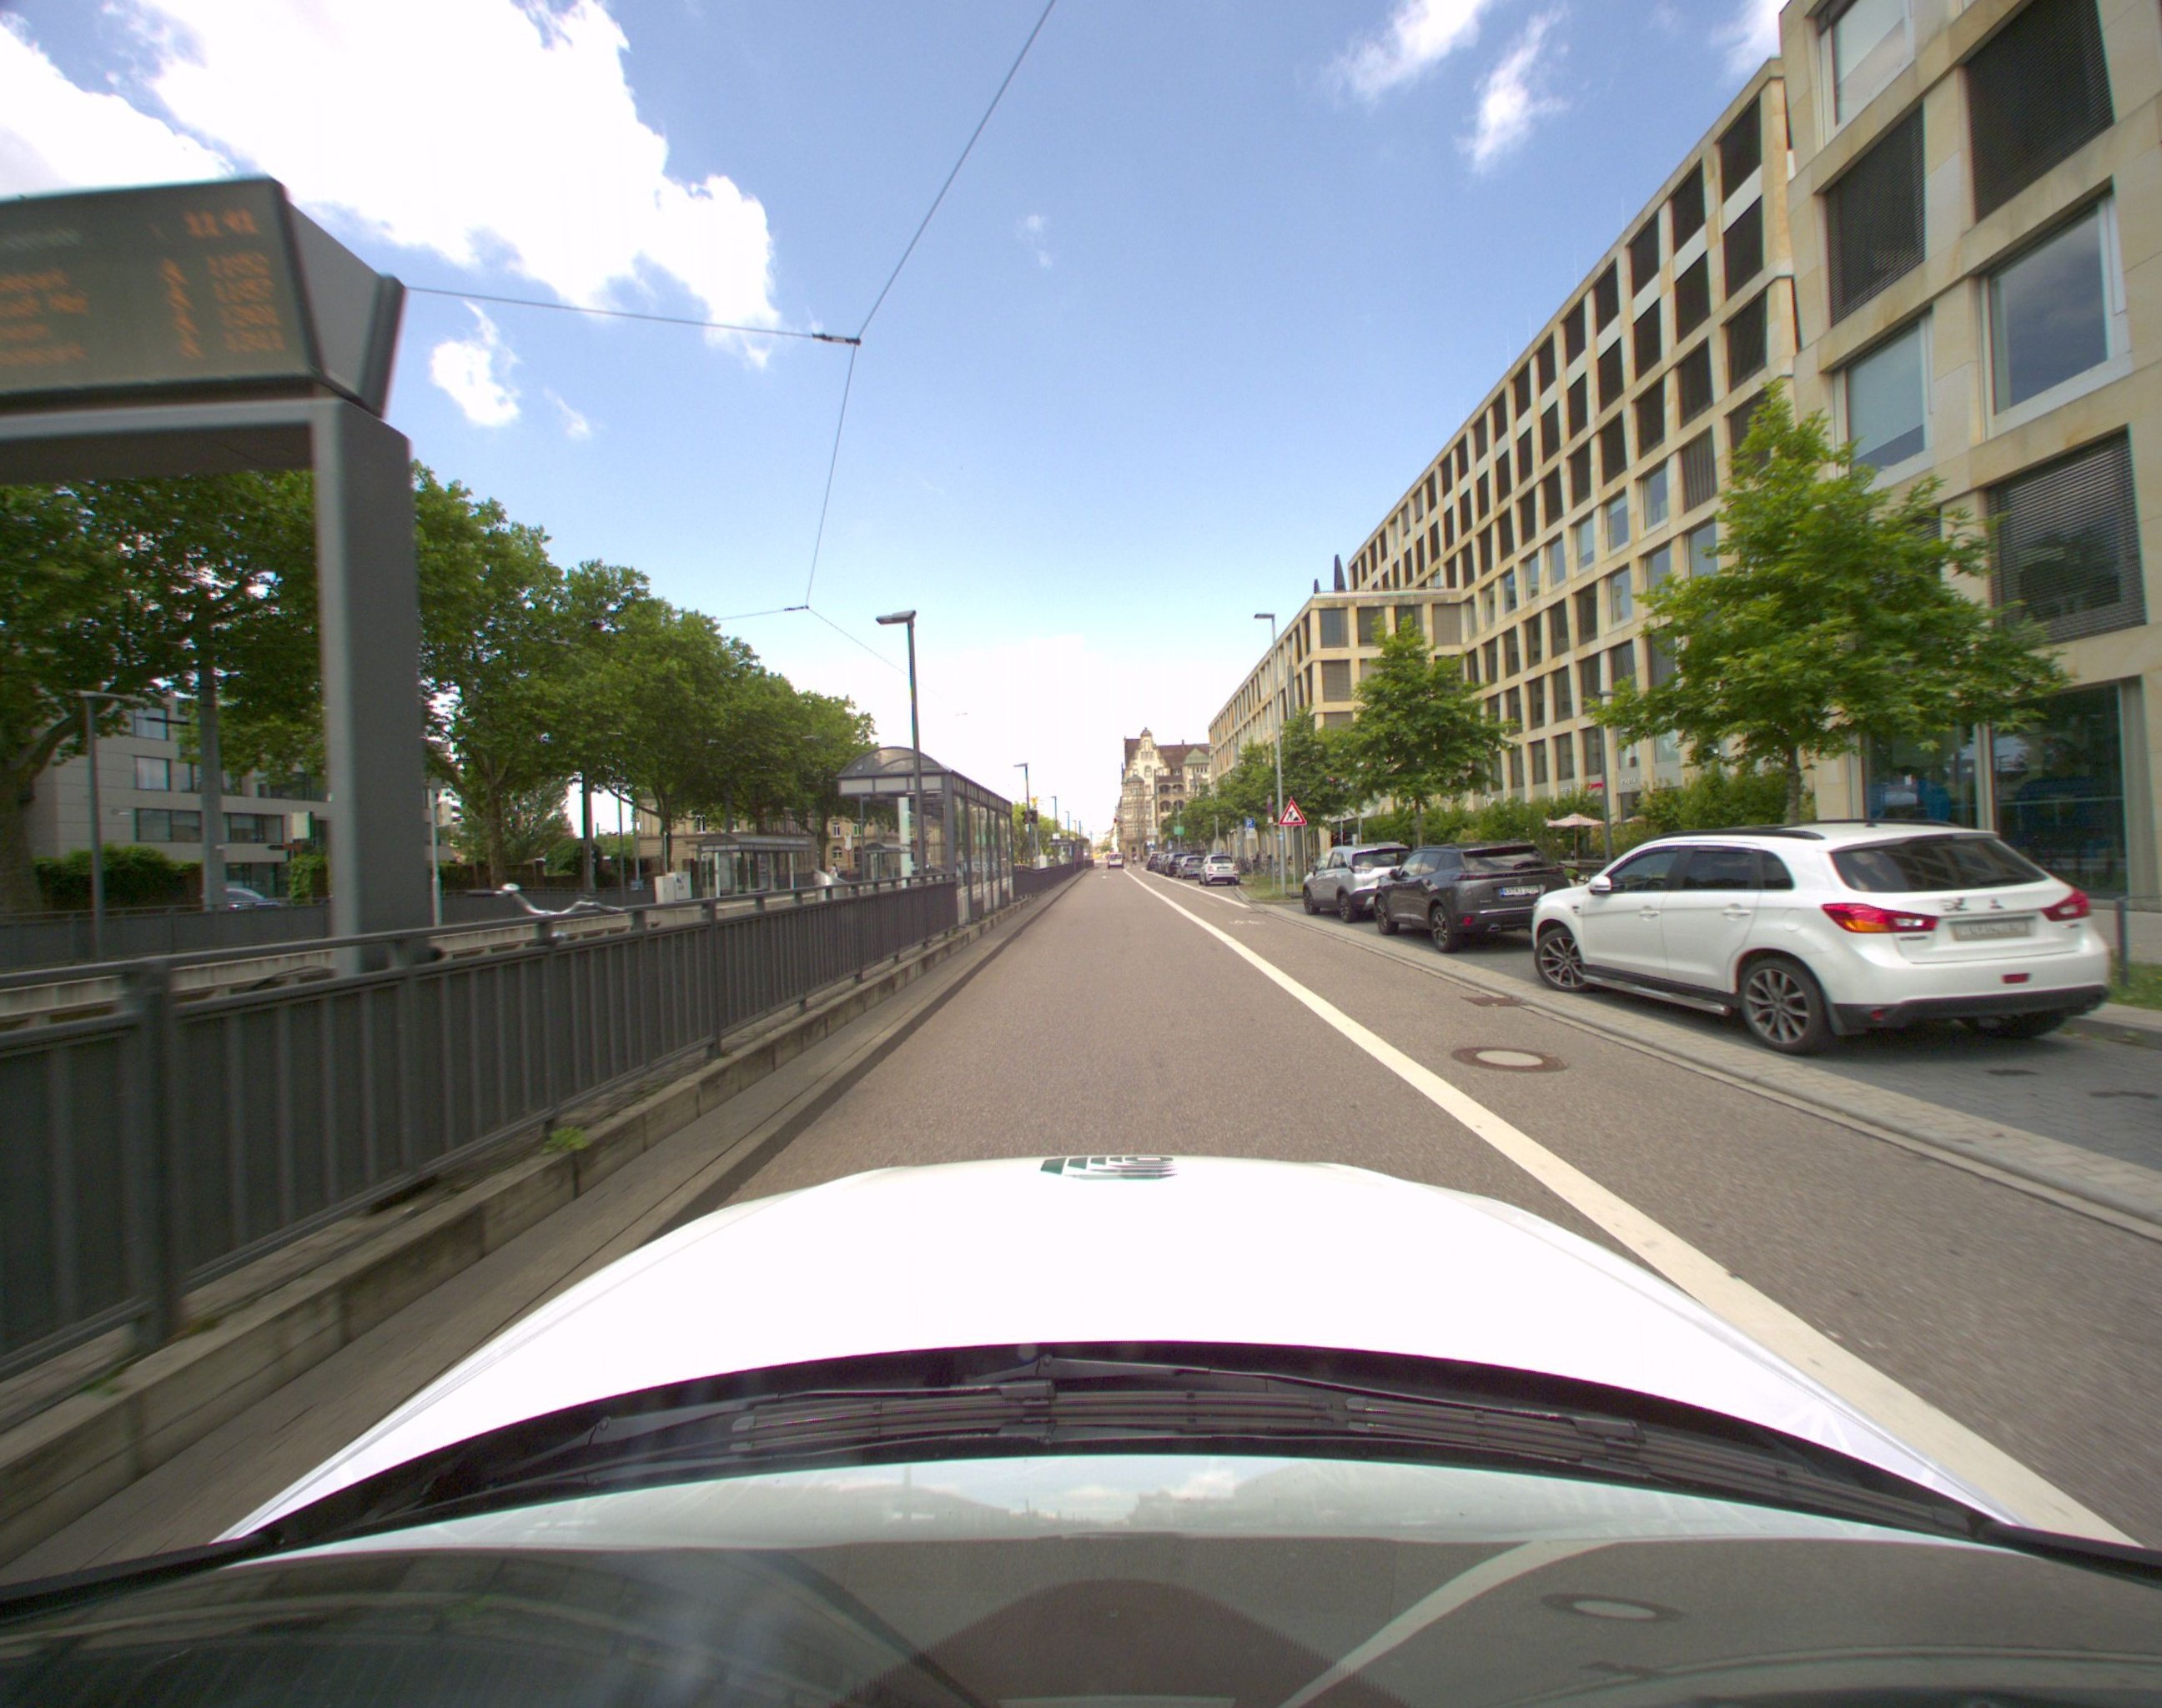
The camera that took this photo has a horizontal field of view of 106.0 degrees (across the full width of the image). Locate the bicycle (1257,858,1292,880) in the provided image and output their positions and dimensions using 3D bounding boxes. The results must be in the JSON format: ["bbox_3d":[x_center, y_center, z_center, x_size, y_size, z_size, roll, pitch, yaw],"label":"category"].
[{"bbox_3d":[10.493,0.818,44.139,1.815,1.076,0.275,-3,-1,5],"label":"bicycle"}]

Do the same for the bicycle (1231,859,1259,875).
[{"bbox_3d":[10.789,0.844,53.669,1.746,0.986,0.326,-3,-1,1],"label":"bicycle"}]

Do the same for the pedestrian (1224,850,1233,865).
[{"bbox_3d":[16.541,0.384,91.313,0.757,1.670,0.659,-2,-1,1],"label":"pedestrian"}]

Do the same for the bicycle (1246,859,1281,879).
[{"bbox_3d":[10.479,0.852,46.789,1.815,1.076,0.687,-3,-1,5],"label":"bicycle"}]

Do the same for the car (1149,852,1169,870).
[{"bbox_3d":[7.948,0.731,82.732,1.704,1.796,3.361,-1,0,0],"label":"car"}]

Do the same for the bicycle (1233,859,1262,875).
[{"bbox_3d":[10.820,0.837,52.961,1.746,0.986,0.326,-3,-1,1],"label":"bicycle"}]

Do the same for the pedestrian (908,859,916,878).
[{"bbox_3d":[-14.680,1.262,70.840,0.498,1.683,0.643,-3,0,2],"label":"pedestrian"}]

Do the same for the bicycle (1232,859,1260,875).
[{"bbox_3d":[10.781,0.842,53.321,1.746,0.986,0.326,-3,-1,1],"label":"bicycle"}]

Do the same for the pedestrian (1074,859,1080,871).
[{"bbox_3d":[-0.405,1.154,86.003,0.511,1.140,0.501,-4,-1,2],"label":"pedestrian"}]

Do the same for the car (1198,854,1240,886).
[{"bbox_3d":[6.716,0.767,39.893,1.584,1.460,3.615,-1,0,3],"label":"car"}]

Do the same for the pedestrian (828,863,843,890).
[{"bbox_3d":[-14.127,1.295,46.826,0.704,1.512,0.797,-3,0,-21],"label":"pedestrian"}]

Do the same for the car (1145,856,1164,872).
[{"bbox_3d":[7.003,0.907,77.748,1.438,1.470,4.092,-1,0,0],"label":"car"}]

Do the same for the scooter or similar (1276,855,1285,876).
[{"bbox_3d":[11.992,0.693,48.897,0.257,1.215,1.015,-2,0,1],"label":"scooter or similar"}]

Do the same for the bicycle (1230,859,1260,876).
[{"bbox_3d":[10.444,0.855,51.855,1.746,0.986,0.326,-3,-1,1],"label":"bicycle"}]

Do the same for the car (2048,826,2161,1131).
[{"bbox_3d":[5.975,0.556,2.349,1.679,1.457,3.952,-4,0,2],"label":"car"}]

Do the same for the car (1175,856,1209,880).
[{"bbox_3d":[6.902,0.844,51.008,1.586,1.434,4.106,-1,0,0],"label":"car"}]

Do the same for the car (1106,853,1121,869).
[{"bbox_3d":[4.059,0.876,102.663,1.862,2.020,4.001,-1,0,1],"label":"car"}]

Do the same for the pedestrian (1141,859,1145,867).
[{"bbox_3d":[11.555,1.696,152.014,0.484,1.609,0.362,-4,-1,1],"label":"pedestrian"}]

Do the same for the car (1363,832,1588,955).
[{"bbox_3d":[5.984,0.542,12.921,1.679,1.548,3.928,-4,0,2],"label":"car"}]

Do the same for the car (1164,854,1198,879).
[{"bbox_3d":[6.954,0.856,56.939,1.732,1.669,4.840,-1,0,0],"label":"car"}]

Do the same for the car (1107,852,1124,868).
[{"bbox_3d":[3.928,0.683,93.627,1.862,1.746,4.001,-1,0,1],"label":"car"}]

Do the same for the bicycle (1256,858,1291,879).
[{"bbox_3d":[10.516,0.783,44.440,1.815,1.076,0.275,-3,-1,5],"label":"bicycle"}]

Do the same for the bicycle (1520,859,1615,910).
[{"bbox_3d":[9.609,0.610,16.110,1.489,0.917,0.505,-3,-3,4],"label":"bicycle"}]

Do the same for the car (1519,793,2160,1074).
[{"bbox_3d":[5.741,0.491,7.047,1.679,1.606,4.153,-4,0,2],"label":"car"}]

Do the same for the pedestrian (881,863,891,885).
[{"bbox_3d":[-14.273,1.451,59.742,0.498,1.558,0.643,-2,-1,2],"label":"pedestrian"}]

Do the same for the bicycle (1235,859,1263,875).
[{"bbox_3d":[10.846,0.833,52.618,1.746,0.986,0.326,-3,-1,1],"label":"bicycle"}]

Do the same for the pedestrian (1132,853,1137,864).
[{"bbox_3d":[7.461,0.647,113.825,0.532,1.572,0.542,-4,-1,0],"label":"pedestrian"}]

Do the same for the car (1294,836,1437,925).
[{"bbox_3d":[6.189,0.531,18.207,1.680,1.633,3.989,-5,0,0],"label":"car"}]
